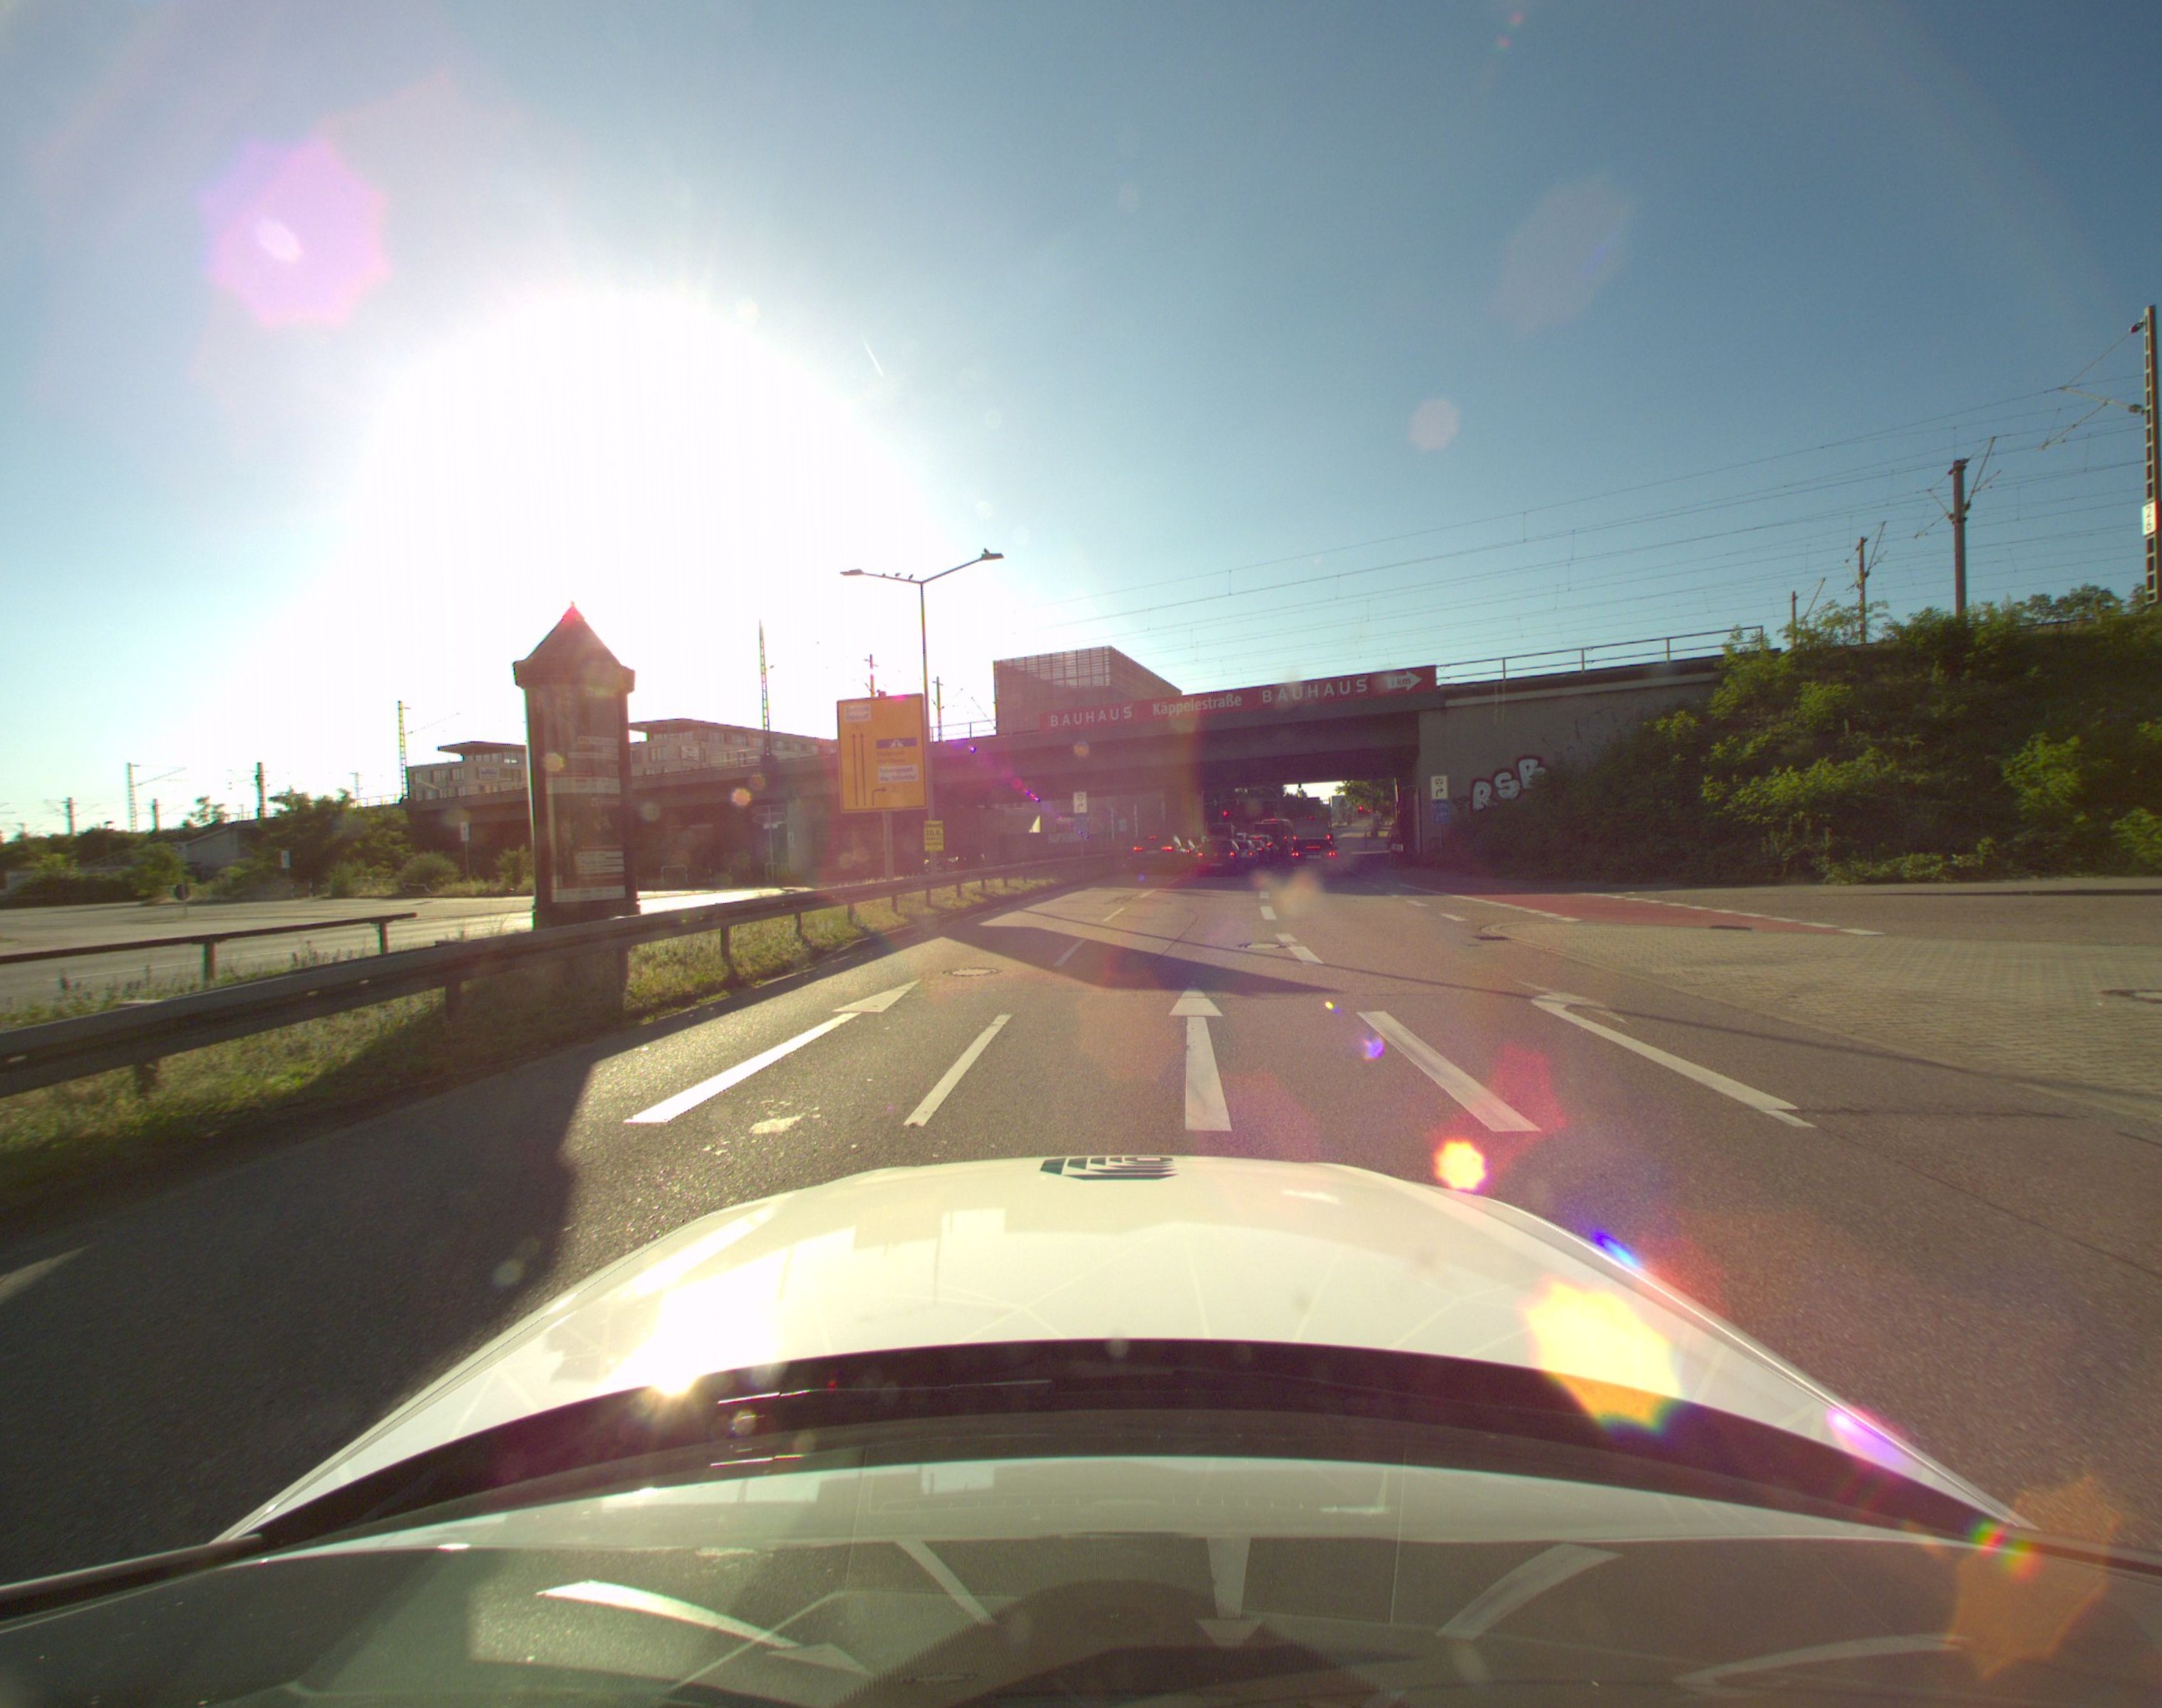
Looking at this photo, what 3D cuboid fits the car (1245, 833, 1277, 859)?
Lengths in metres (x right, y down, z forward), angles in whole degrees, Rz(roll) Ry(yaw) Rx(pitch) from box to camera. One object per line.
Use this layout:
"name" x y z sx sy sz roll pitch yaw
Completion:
"car" 11.243 -0.515 50.655 1.569 1.532 3.849 -1 0 17

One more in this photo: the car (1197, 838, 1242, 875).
"car" 5.735 0.096 33.487 1.570 1.408 3.846 -1 0 13

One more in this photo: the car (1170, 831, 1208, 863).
"car" 6.503 -0.409 48.670 1.829 1.719 4.014 -5 -1 12

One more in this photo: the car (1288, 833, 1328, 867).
"car" 11.244 -0.195 40.164 1.758 1.495 3.849 -3 0 17

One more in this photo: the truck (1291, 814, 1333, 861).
"truck" 13.487 -0.966 47.563 2.095 2.519 4.420 -3 0 16

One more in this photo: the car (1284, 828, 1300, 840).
"car" 29.560 -2.823 114.046 1.786 1.604 3.758 -2 0 18

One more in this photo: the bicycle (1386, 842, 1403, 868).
"bicycle" 12.091 0.019 31.450 0.574 0.963 2.901 -2 0 21

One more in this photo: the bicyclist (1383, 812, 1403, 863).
"bicyclist" 12.062 -0.637 31.458 0.676 1.907 0.837 -2 0 21

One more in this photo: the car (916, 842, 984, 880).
"car" -6.364 0.305 40.097 1.835 1.603 4.406 -5 -1 10

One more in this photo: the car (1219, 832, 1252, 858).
"car" 12.170 -0.693 63.938 1.977 1.901 4.020 -2 0 19

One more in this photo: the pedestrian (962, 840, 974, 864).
"pedestrian" -9.261 -0.143 66.504 0.688 1.903 0.668 -2 0 19

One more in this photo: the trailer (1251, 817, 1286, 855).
"trailer" 13.175 -1.226 56.989 1.849 2.465 3.851 -3 0 19

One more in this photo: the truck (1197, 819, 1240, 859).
"truck" 9.484 -1.010 55.724 2.012 2.556 5.563 -2 0 18

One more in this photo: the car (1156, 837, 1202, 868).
"car" 5.192 -0.094 42.693 1.828 1.440 3.690 -5 -1 14

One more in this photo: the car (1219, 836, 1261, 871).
"car" 7.545 -0.056 38.365 1.535 1.423 3.432 -5 0 16

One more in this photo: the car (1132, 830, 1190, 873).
"car" 3.623 -0.115 36.270 1.816 1.738 4.480 -2 0 15

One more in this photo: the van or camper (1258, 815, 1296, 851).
"van or camper" 15.011 -1.588 62.056 1.976 2.570 5.949 -2 0 21

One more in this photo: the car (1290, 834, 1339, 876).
"car" 9.316 -0.001 32.726 1.728 1.454 4.625 -1 2 15
